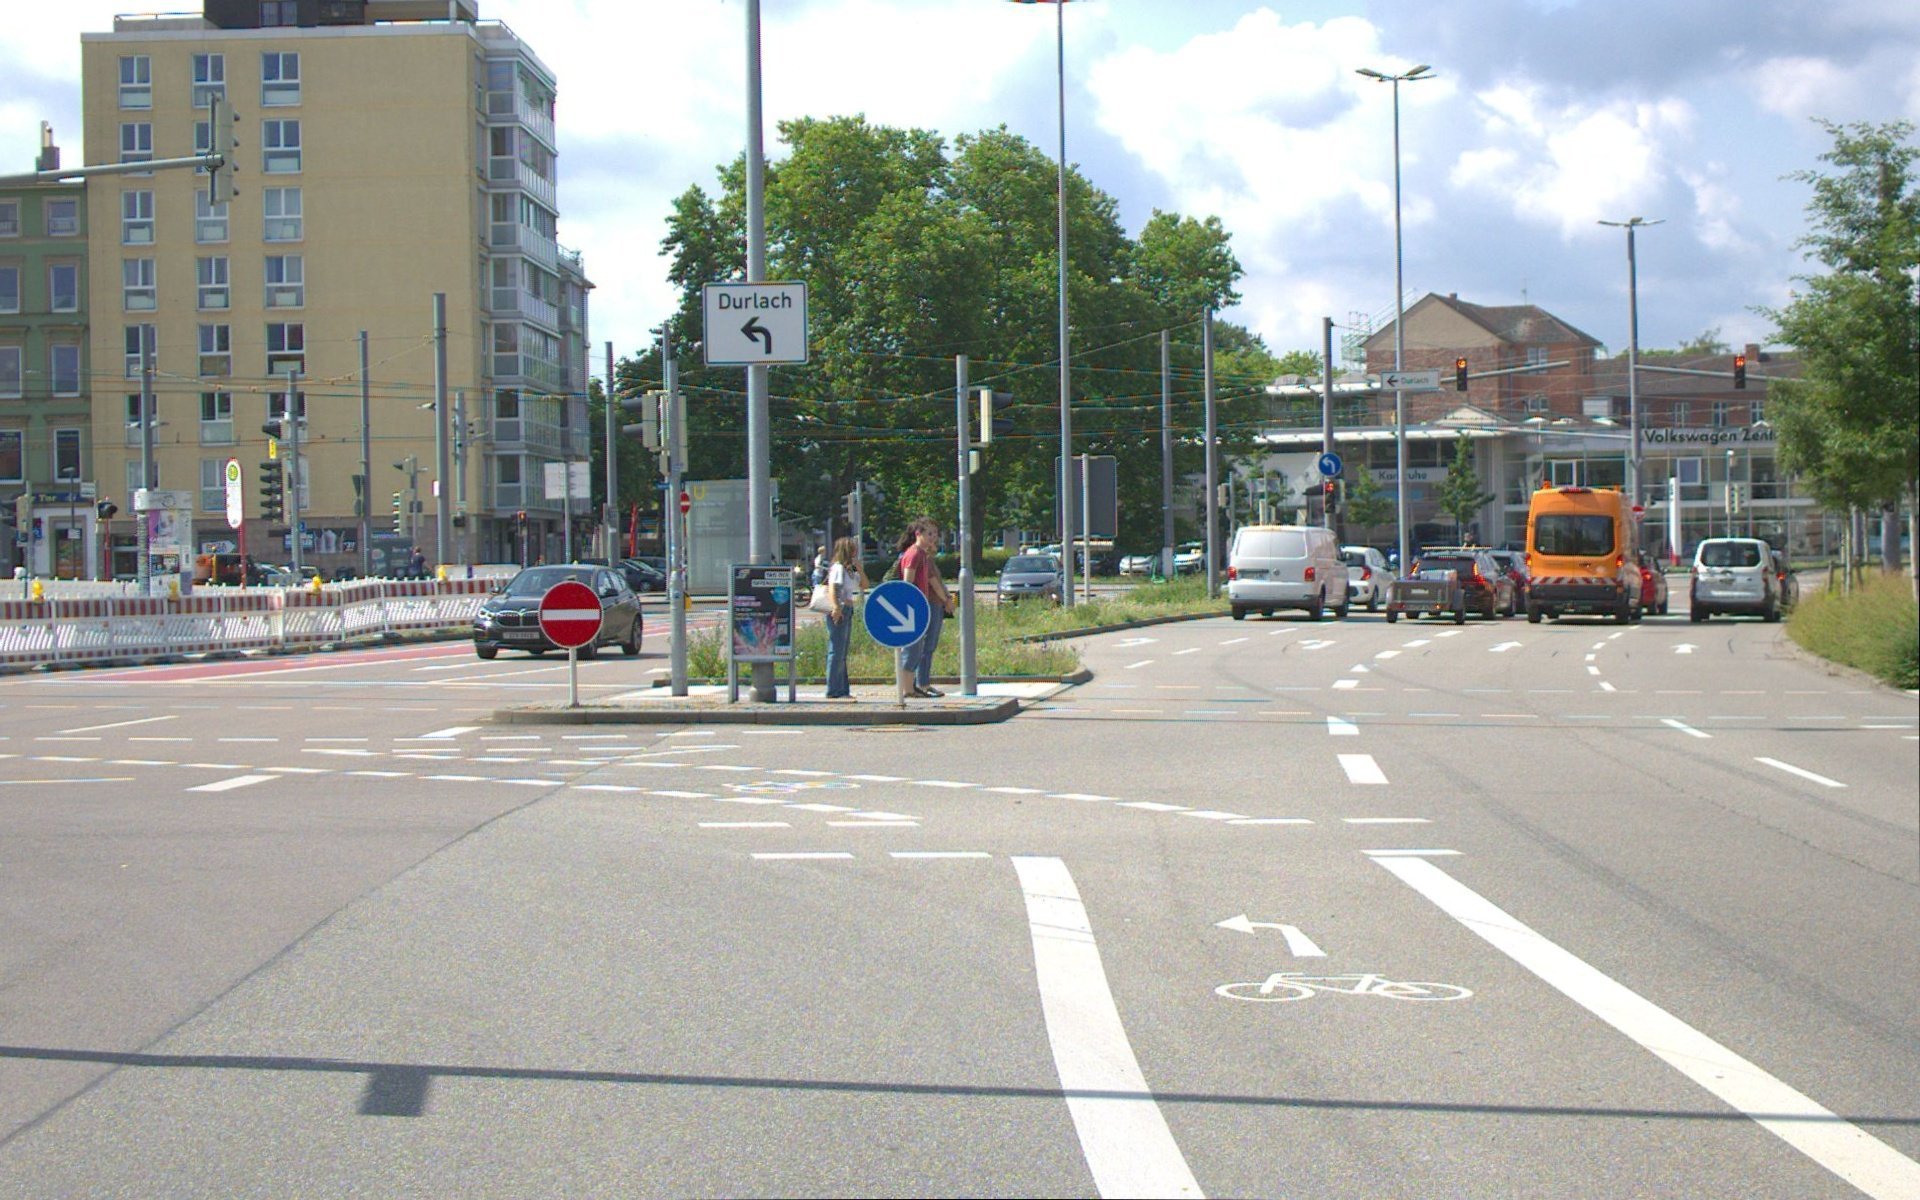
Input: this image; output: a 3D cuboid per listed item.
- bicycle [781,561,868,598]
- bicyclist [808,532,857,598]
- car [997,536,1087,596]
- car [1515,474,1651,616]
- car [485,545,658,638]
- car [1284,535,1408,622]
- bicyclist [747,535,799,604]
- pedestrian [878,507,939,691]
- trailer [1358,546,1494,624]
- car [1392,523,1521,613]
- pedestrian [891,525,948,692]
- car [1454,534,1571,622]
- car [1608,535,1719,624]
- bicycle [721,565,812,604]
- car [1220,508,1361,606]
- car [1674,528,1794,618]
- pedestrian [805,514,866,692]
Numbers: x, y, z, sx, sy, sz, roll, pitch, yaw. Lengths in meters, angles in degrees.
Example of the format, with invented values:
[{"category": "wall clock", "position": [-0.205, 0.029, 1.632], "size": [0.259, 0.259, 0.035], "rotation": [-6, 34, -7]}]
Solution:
[{"category": "bicycle", "position": [-3.969, -0.602, 100.646], "size": [2.380, 1.063, 0.842], "rotation": [-1, 1, 14]}, {"category": "bicyclist", "position": [-3.726, -1.033, 100.585], "size": [1.220, 1.903, 0.833], "rotation": [-1, 1, 14]}, {"category": "car", "position": [2.157, -0.901, 89.355], "size": [1.662, 1.475, 4.060], "rotation": [2, 1, 10]}, {"category": "car", "position": [12.852, -1.142, 70.700], "size": [2.132, 2.771, 4.635], "rotation": [-1, 1, 17]}, {"category": "car", "position": [-5.970, -0.155, 53.266], "size": [1.792, 1.383, 4.226], "rotation": [0, 1, 6]}, {"category": "car", "position": [9.012, -0.528, 79.962], "size": [1.993, 1.932, 4.635], "rotation": [-1, 1, 17]}, {"category": "bicyclist", "position": [-5.210, -0.854, 95.789], "size": [1.220, 1.903, 0.858], "rotation": [-1, 1, 14]}, {"category": "pedestrian", "position": [-0.487, -0.016, 32.792], "size": [0.525, 1.727, 0.623], "rotation": [-1, 1, 3]}, {"category": "trailer", "position": [9.512, -0.319, 69.947], "size": [1.995, 1.472, 3.996], "rotation": [-1, 1, 19]}, {"category": "car", "position": [10.604, -0.696, 73.191], "size": [1.995, 1.820, 3.996], "rotation": [-1, 1, 19]}, {"category": "pedestrian", "position": [-0.409, 0.085, 34.981], "size": [0.525, 1.678, 0.623], "rotation": [-1, 1, 3]}, {"category": "car", "position": [12.835, -0.530, 79.674], "size": [1.993, 1.932, 4.635], "rotation": [-1, 1, 17]}, {"category": "car", "position": [16.193, -0.501, 78.967], "size": [1.993, 1.932, 4.635], "rotation": [-1, 1, 17]}, {"category": "bicycle", "position": [-5.401, -0.430, 95.843], "size": [2.380, 1.063, 0.858], "rotation": [-1, 1, 14]}, {"category": "car", "position": [6.978, -0.921, 72.270], "size": [2.007, 1.960, 4.635], "rotation": [-1, 1, 17]}, {"category": "car", "position": [16.213, -0.579, 71.924], "size": [1.995, 1.789, 3.996], "rotation": [-1, 1, 19]}, {"category": "pedestrian", "position": [-1.223, 0.021, 33.754], "size": [0.525, 1.727, 0.623], "rotation": [-1, 1, 3]}]
